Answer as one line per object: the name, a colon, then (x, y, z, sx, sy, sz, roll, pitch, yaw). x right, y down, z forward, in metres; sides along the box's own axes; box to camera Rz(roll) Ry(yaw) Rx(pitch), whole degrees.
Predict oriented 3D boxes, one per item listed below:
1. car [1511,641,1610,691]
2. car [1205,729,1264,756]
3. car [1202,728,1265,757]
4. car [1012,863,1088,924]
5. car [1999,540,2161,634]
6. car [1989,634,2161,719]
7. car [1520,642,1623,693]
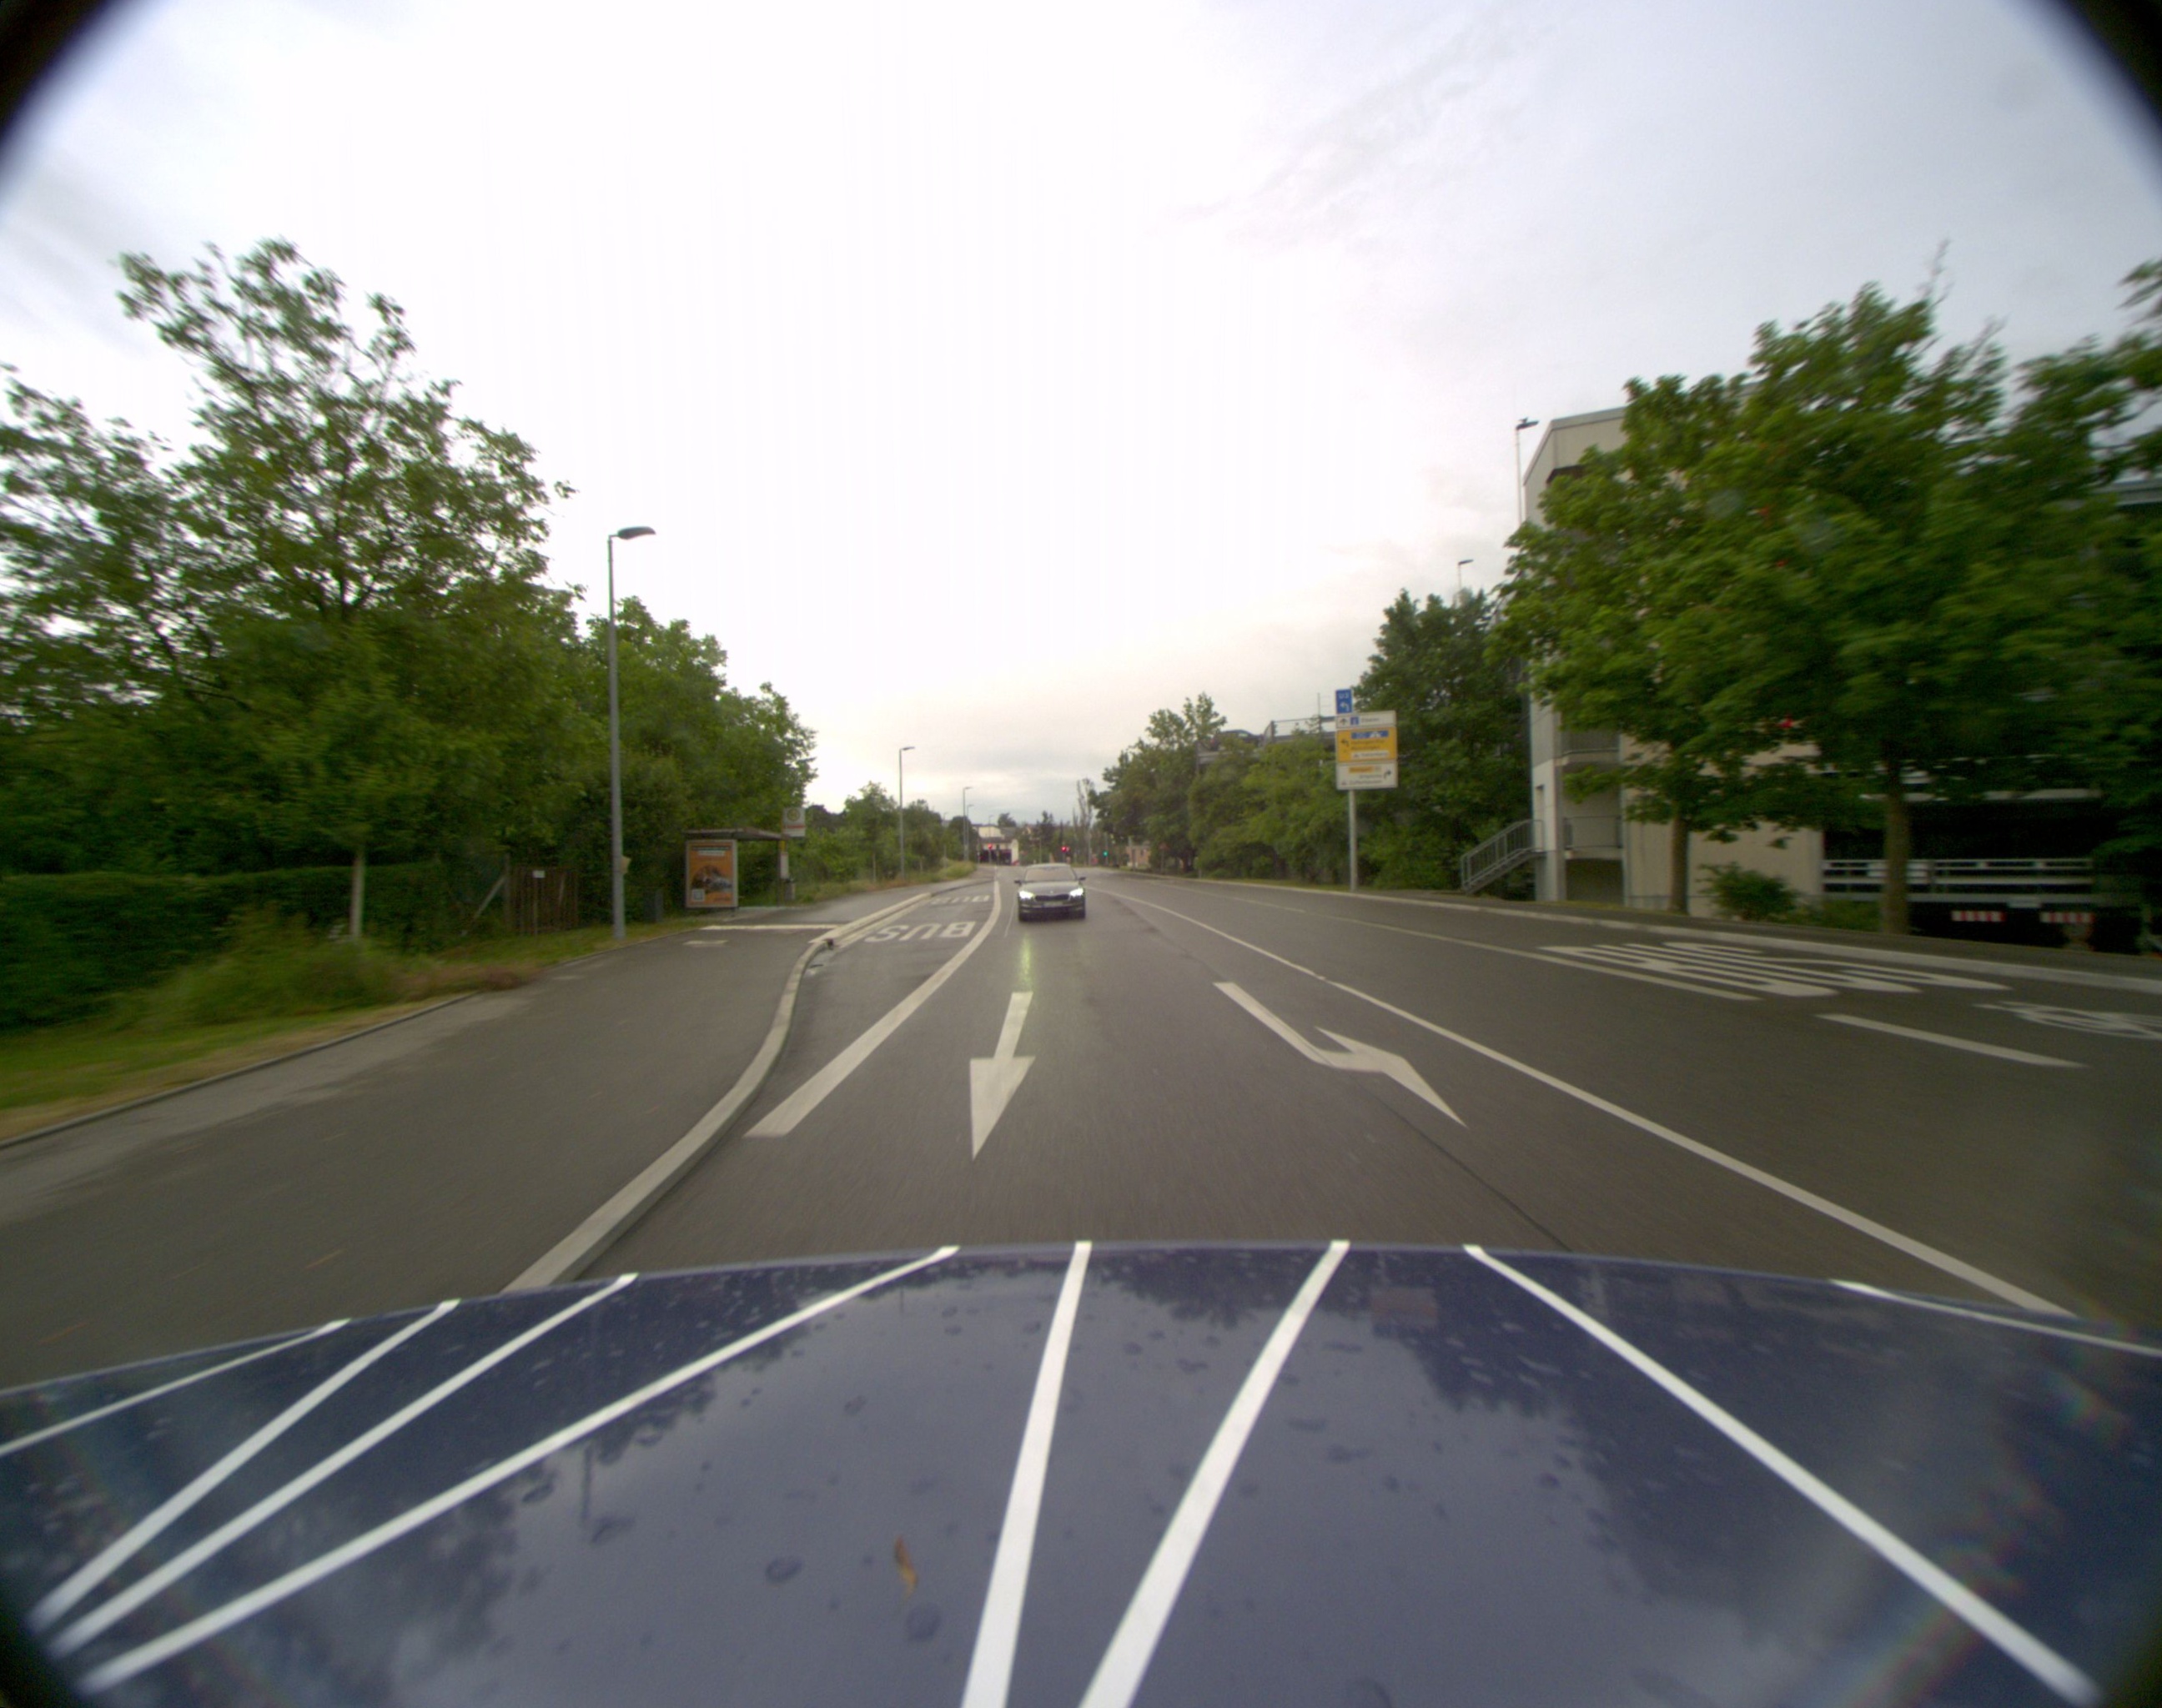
car: (20.174, -7.903, 32.094, 3.237, 1.510, 1.588, 0, 0, 16)
car: (11.475, -8.319, 56.835, 3.990, 1.510, 2.003, 0, 0, 22)
car: (10.598, -7.722, 52.821, 3.990, 1.510, 2.003, 0, 0, 22)
car: (-0.863, 1.019, 21.218, 1.839, 1.448, 4.201, -3, 0, -2)
car: (29.553, -7.618, 21.553, 3.991, 1.761, 2.003, -1, -1, 18)
car: (29.617, -5.106, 21.861, 3.991, 1.761, 2.003, -1, -1, 18)
car: (20.040, -7.598, 31.164, 3.237, 1.510, 1.588, 0, 0, 16)
